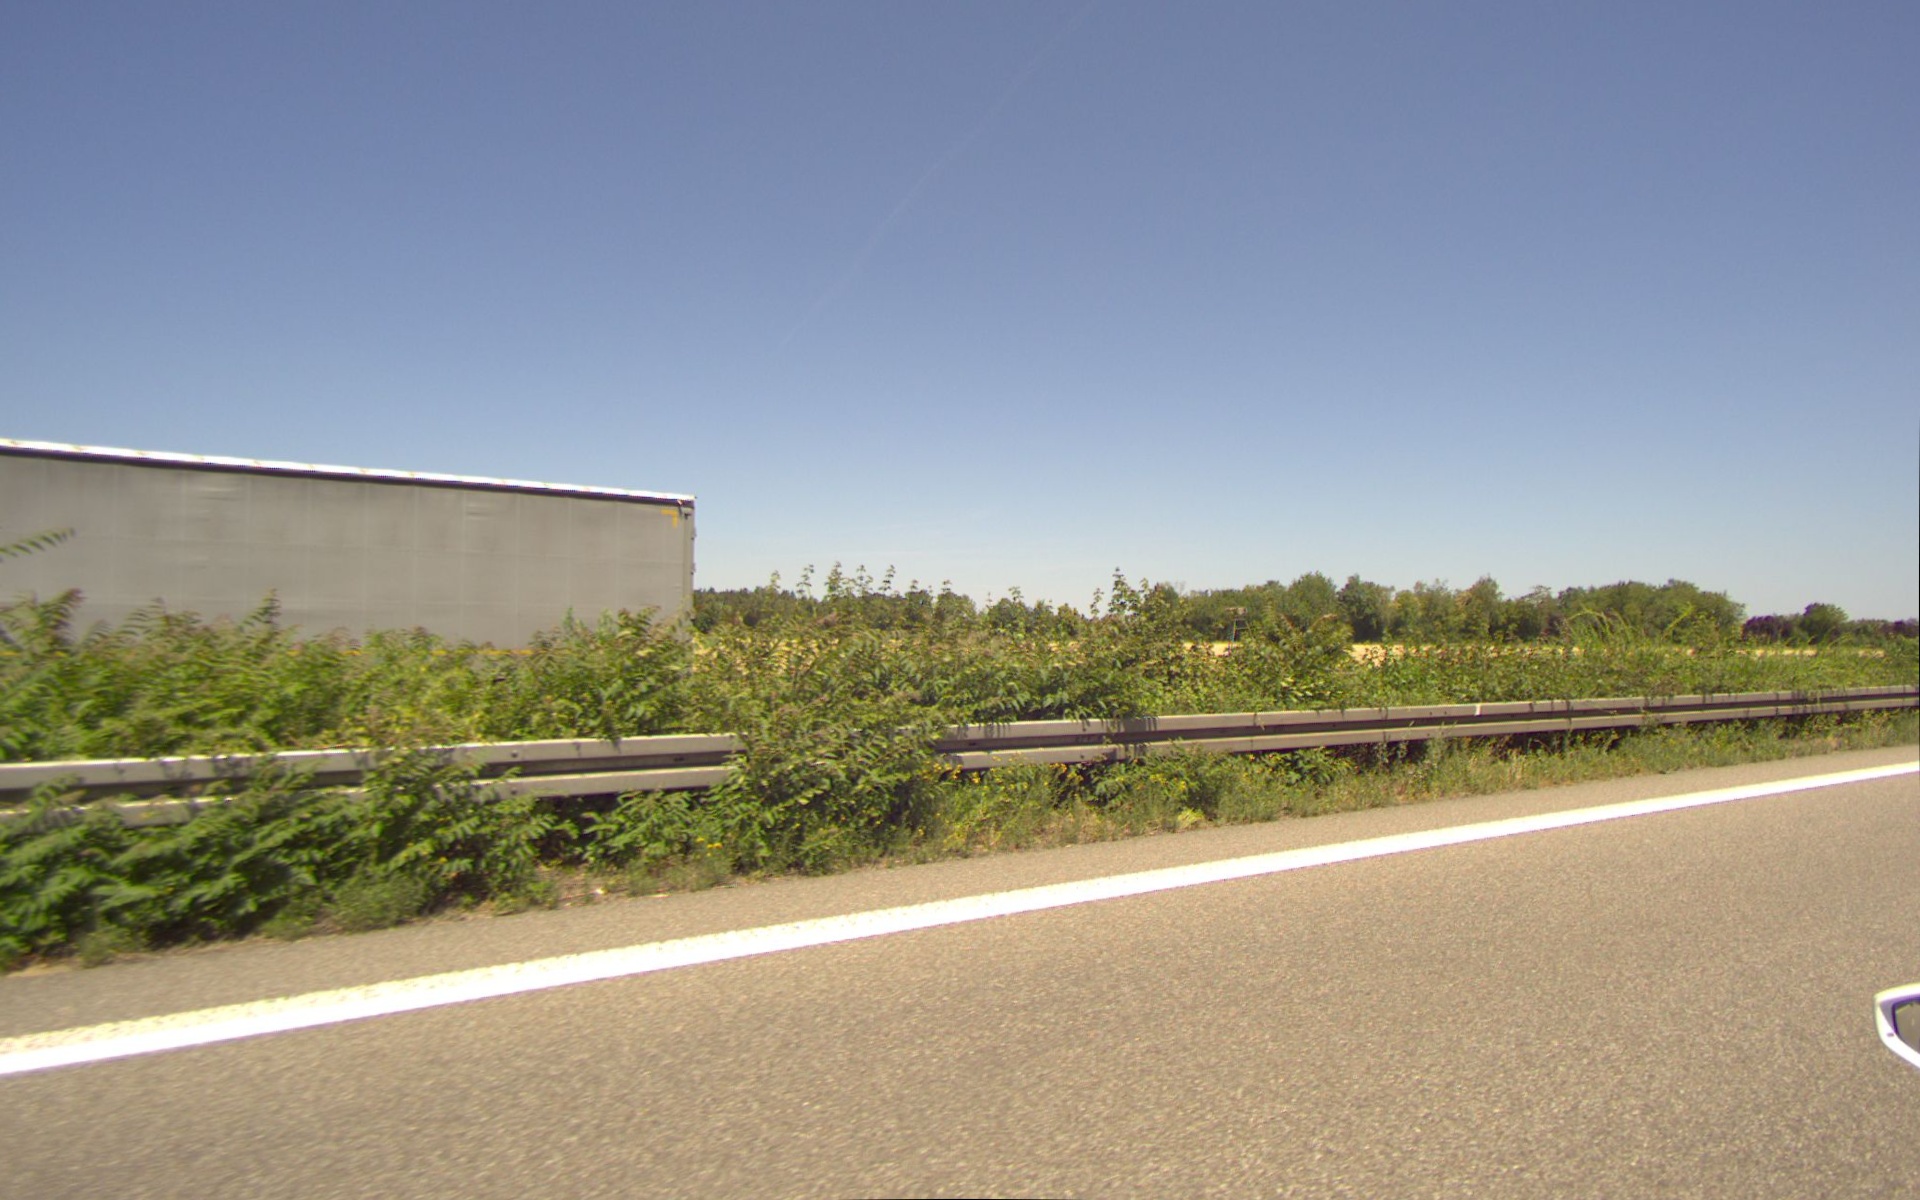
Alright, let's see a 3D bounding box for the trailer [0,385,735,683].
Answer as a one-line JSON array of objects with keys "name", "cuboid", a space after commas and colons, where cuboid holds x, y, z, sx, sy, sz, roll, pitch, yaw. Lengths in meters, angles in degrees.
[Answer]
[{"name": "trailer", "cuboid": [-10.884, -0.794, 15.339, 14.222, 3.748, 3.331, 1, 0, -32]}]
